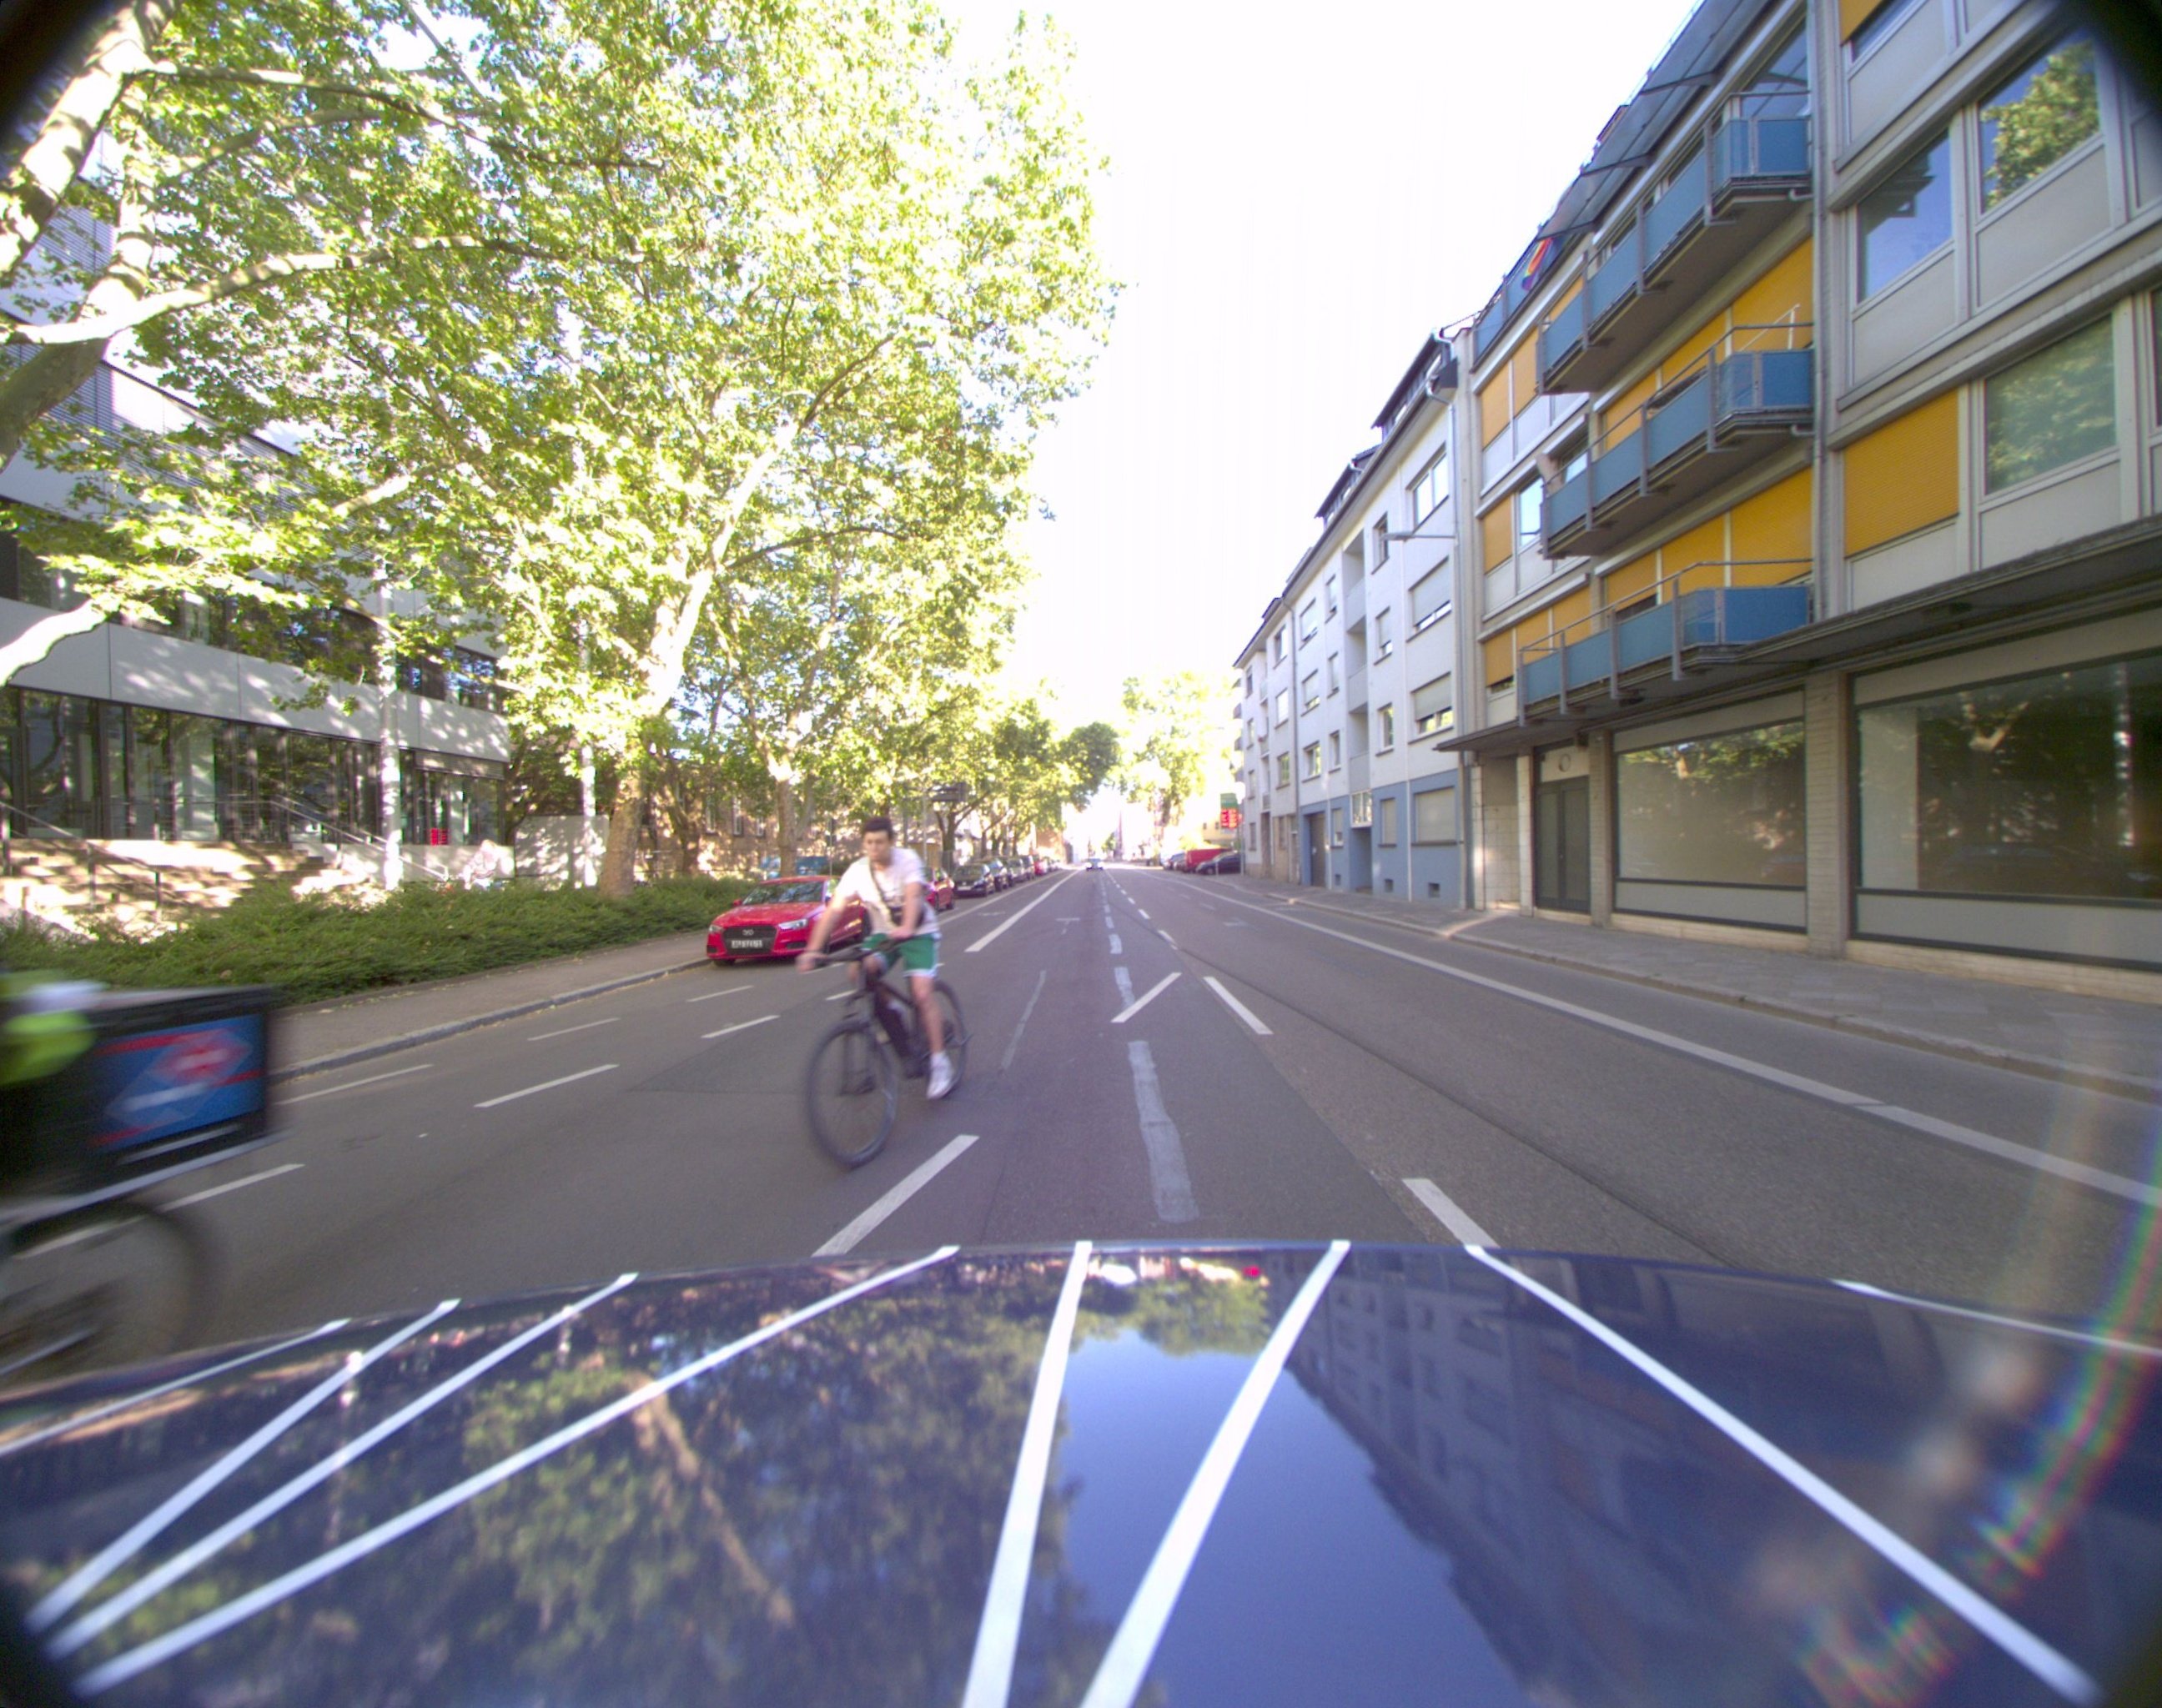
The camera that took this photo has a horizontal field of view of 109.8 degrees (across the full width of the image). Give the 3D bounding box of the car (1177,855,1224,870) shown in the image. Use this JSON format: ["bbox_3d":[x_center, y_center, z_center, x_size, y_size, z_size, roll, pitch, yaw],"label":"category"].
[{"bbox_3d":[9.808,0.688,62.593,3.687,1.122,1.345,-2,1,2],"label":"car"}]

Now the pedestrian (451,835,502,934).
[{"bbox_3d":[-12.558,0.622,15.793,0.552,2.002,0.562,-2,1,-11],"label":"pedestrian"}]

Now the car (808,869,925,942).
[{"bbox_3d":[-5.053,1.158,18.416,1.669,1.410,3.697,-2,1,1],"label":"car"}]

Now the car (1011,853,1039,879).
[{"bbox_3d":[-4.042,0.809,55.244,1.634,1.725,3.769,-2,1,0],"label":"car"}]

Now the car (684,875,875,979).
[{"bbox_3d":[-5.164,1.175,13.662,1.794,1.384,3.999,-2,1,0],"label":"car"}]

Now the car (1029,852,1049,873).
[{"bbox_3d":[-3.908,0.800,71.008,1.599,1.835,3.769,-2,1,0],"label":"car"}]

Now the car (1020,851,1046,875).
[{"bbox_3d":[-4.175,0.717,66.096,1.915,1.940,3.769,-2,1,0],"label":"car"}]

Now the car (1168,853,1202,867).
[{"bbox_3d":[10.318,0.576,75.472,3.271,1.238,1.345,-2,1,2],"label":"car"}]

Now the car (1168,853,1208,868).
[{"bbox_3d":[10.263,0.622,73.035,3.687,1.238,1.345,-2,1,2],"label":"car"}]

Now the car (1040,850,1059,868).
[{"bbox_3d":[-3.808,0.577,92.529,1.998,2.002,4.000,-2,0,1],"label":"car"}]

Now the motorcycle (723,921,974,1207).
[{"bbox_3d":[-1.251,1.099,4.621,0.865,1.161,1.929,-2,1,1],"label":"motorcycle"}]

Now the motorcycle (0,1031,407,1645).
[{"bbox_3d":[-2.825,1.213,1.568,0.799,1.125,2.236,-2,1,1],"label":"motorcycle"}]

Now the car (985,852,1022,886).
[{"bbox_3d":[-4.459,0.848,44.245,1.634,1.781,4.576,-2,1,0],"label":"car"}]

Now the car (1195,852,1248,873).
[{"bbox_3d":[10.087,0.585,54.734,3.508,1.380,1.490,-2,1,2],"label":"car"}]

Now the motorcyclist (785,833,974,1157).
[{"bbox_3d":[-1.180,0.782,4.677,0.833,1.778,0.913,-2,1,1],"label":"motorcyclist"}]

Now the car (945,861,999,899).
[{"bbox_3d":[-4.697,1.107,33.241,1.692,1.414,3.923,-2,1,0],"label":"car"}]

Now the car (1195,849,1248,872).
[{"bbox_3d":[10.530,0.480,57.103,3.687,1.503,1.490,-2,1,2],"label":"car"}]

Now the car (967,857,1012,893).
[{"bbox_3d":[-4.522,0.987,38.112,1.634,1.569,4.231,-2,1,0],"label":"car"}]

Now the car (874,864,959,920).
[{"bbox_3d":[-5.016,1.128,23.689,1.692,1.441,3.923,-2,1,1],"label":"car"}]

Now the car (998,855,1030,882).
[{"bbox_3d":[-4.358,0.934,50.117,1.634,1.604,4.576,-2,1,0],"label":"car"}]

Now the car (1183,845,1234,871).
[{"bbox_3d":[10.056,0.316,59.948,3.688,1.897,1.490,-2,-1,-1],"label":"car"}]

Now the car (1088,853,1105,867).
[{"bbox_3d":[1.648,0.659,82.435,1.752,1.423,4.266,-2,0,1],"label":"car"}]

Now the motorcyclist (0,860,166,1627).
[{"bbox_3d":[-2.839,0.899,1.637,0.719,1.733,0.751,-2,1,1],"label":"motorcyclist"}]
